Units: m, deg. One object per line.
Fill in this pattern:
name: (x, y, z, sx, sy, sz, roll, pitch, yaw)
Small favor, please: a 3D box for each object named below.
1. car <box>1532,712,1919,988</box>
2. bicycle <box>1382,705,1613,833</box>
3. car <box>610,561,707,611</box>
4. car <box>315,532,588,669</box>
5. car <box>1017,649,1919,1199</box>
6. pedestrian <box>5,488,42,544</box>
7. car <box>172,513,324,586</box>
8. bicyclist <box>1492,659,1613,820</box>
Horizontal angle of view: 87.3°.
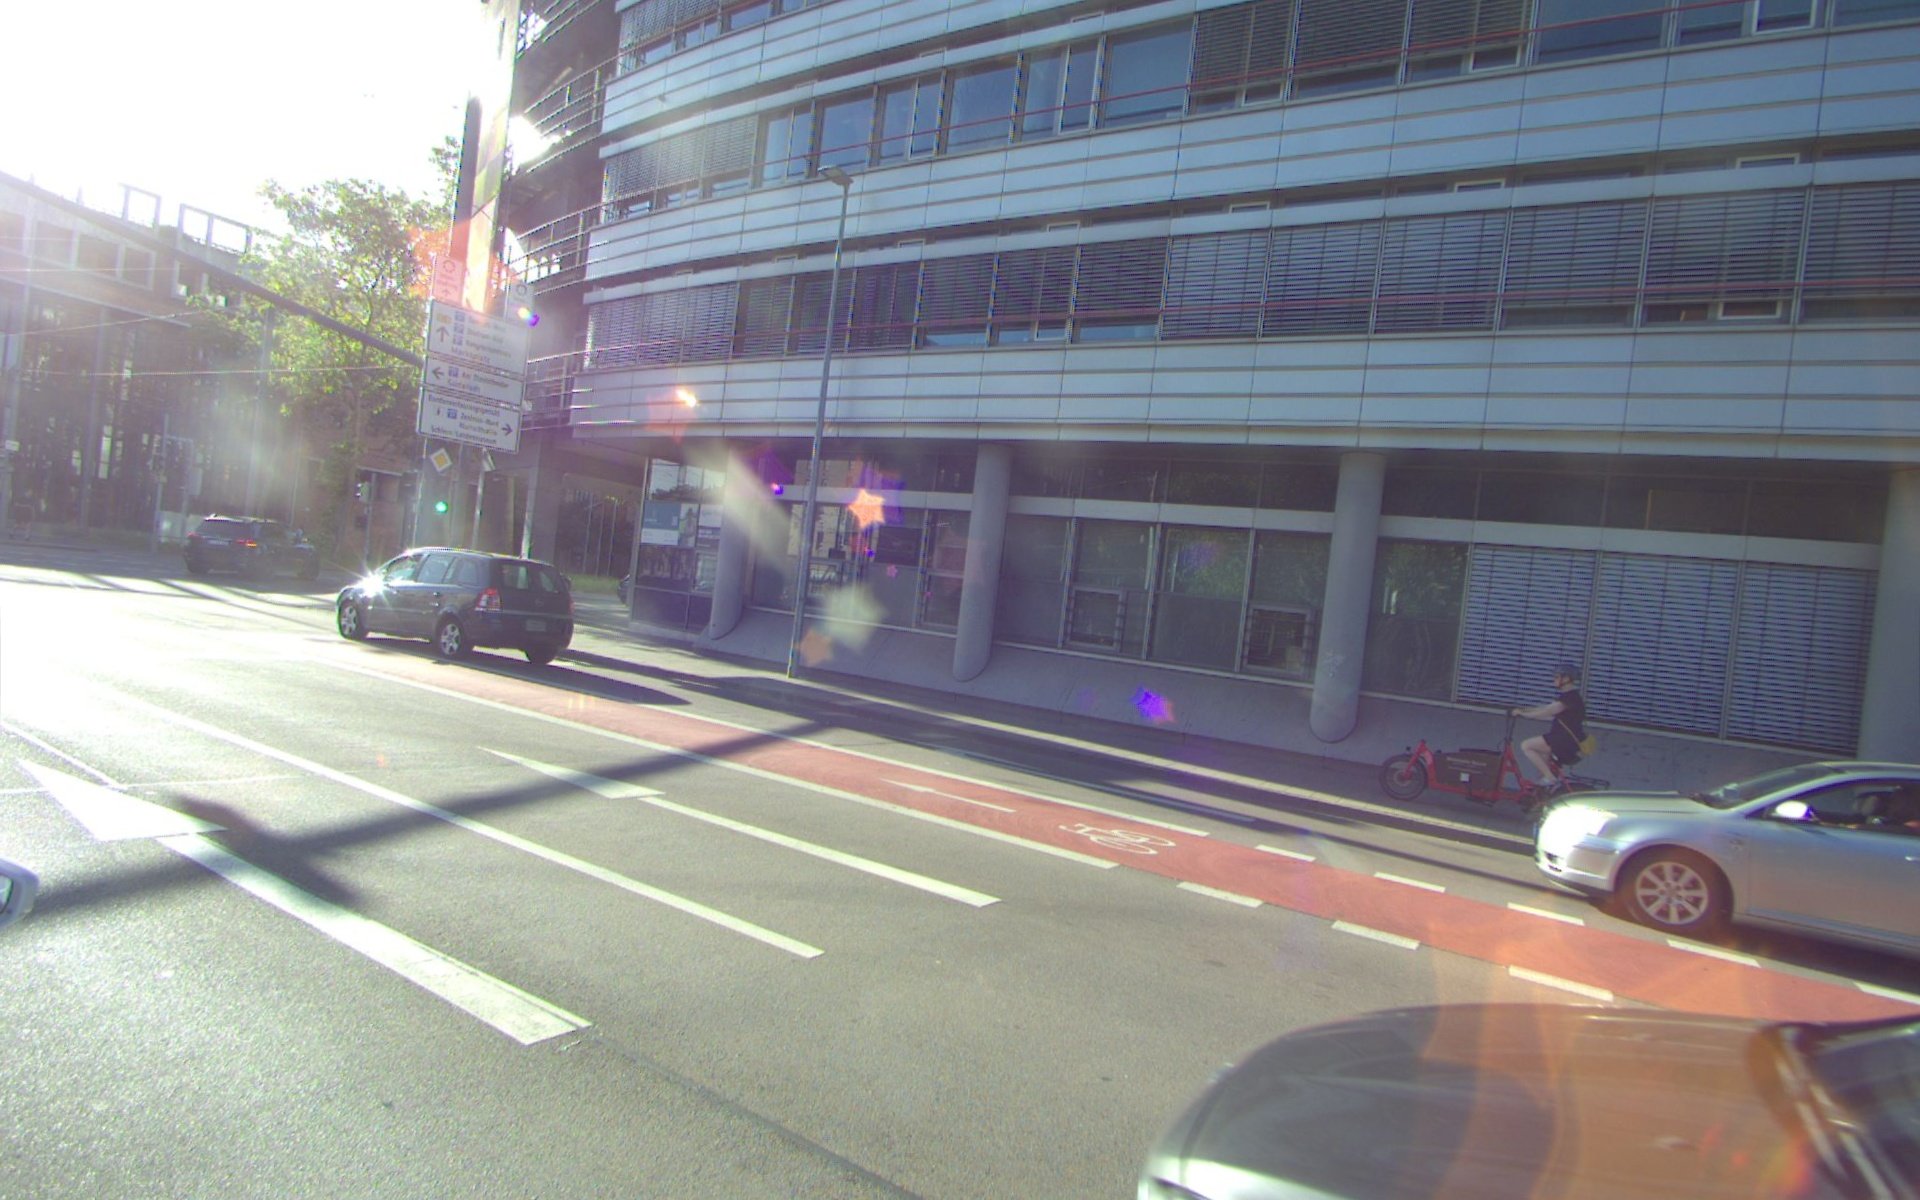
car: (6.830, 1.902, 7.403, 4.412, 1.448, 1.754, 7, 0, 30)
bicycle: (5.968, 1.856, 11.295, 2.167, 1.047, 0.499, 5, 3, 26)
car: (-13.435, -0.577, 45.005, 1.832, 1.670, 4.000, 7, -2, 24)
car: (-8.163, -0.018, 16.038, 4.388, 1.649, 1.690, 7, 0, 31)
car: (2.216, 1.058, 0.867, 4.084, 1.450, 1.688, 7, -1, 31)
pedestrian: (-31.943, -2.848, 34.306, 0.701, 1.781, 0.556, 6, 1, -33)
car: (-21.180, -1.434, 30.176, 1.967, 1.771, 4.320, 7, 0, -11)
bicyclist: (6.456, 1.488, 11.017, 1.026, 1.587, 0.625, 3, 2, 28)
